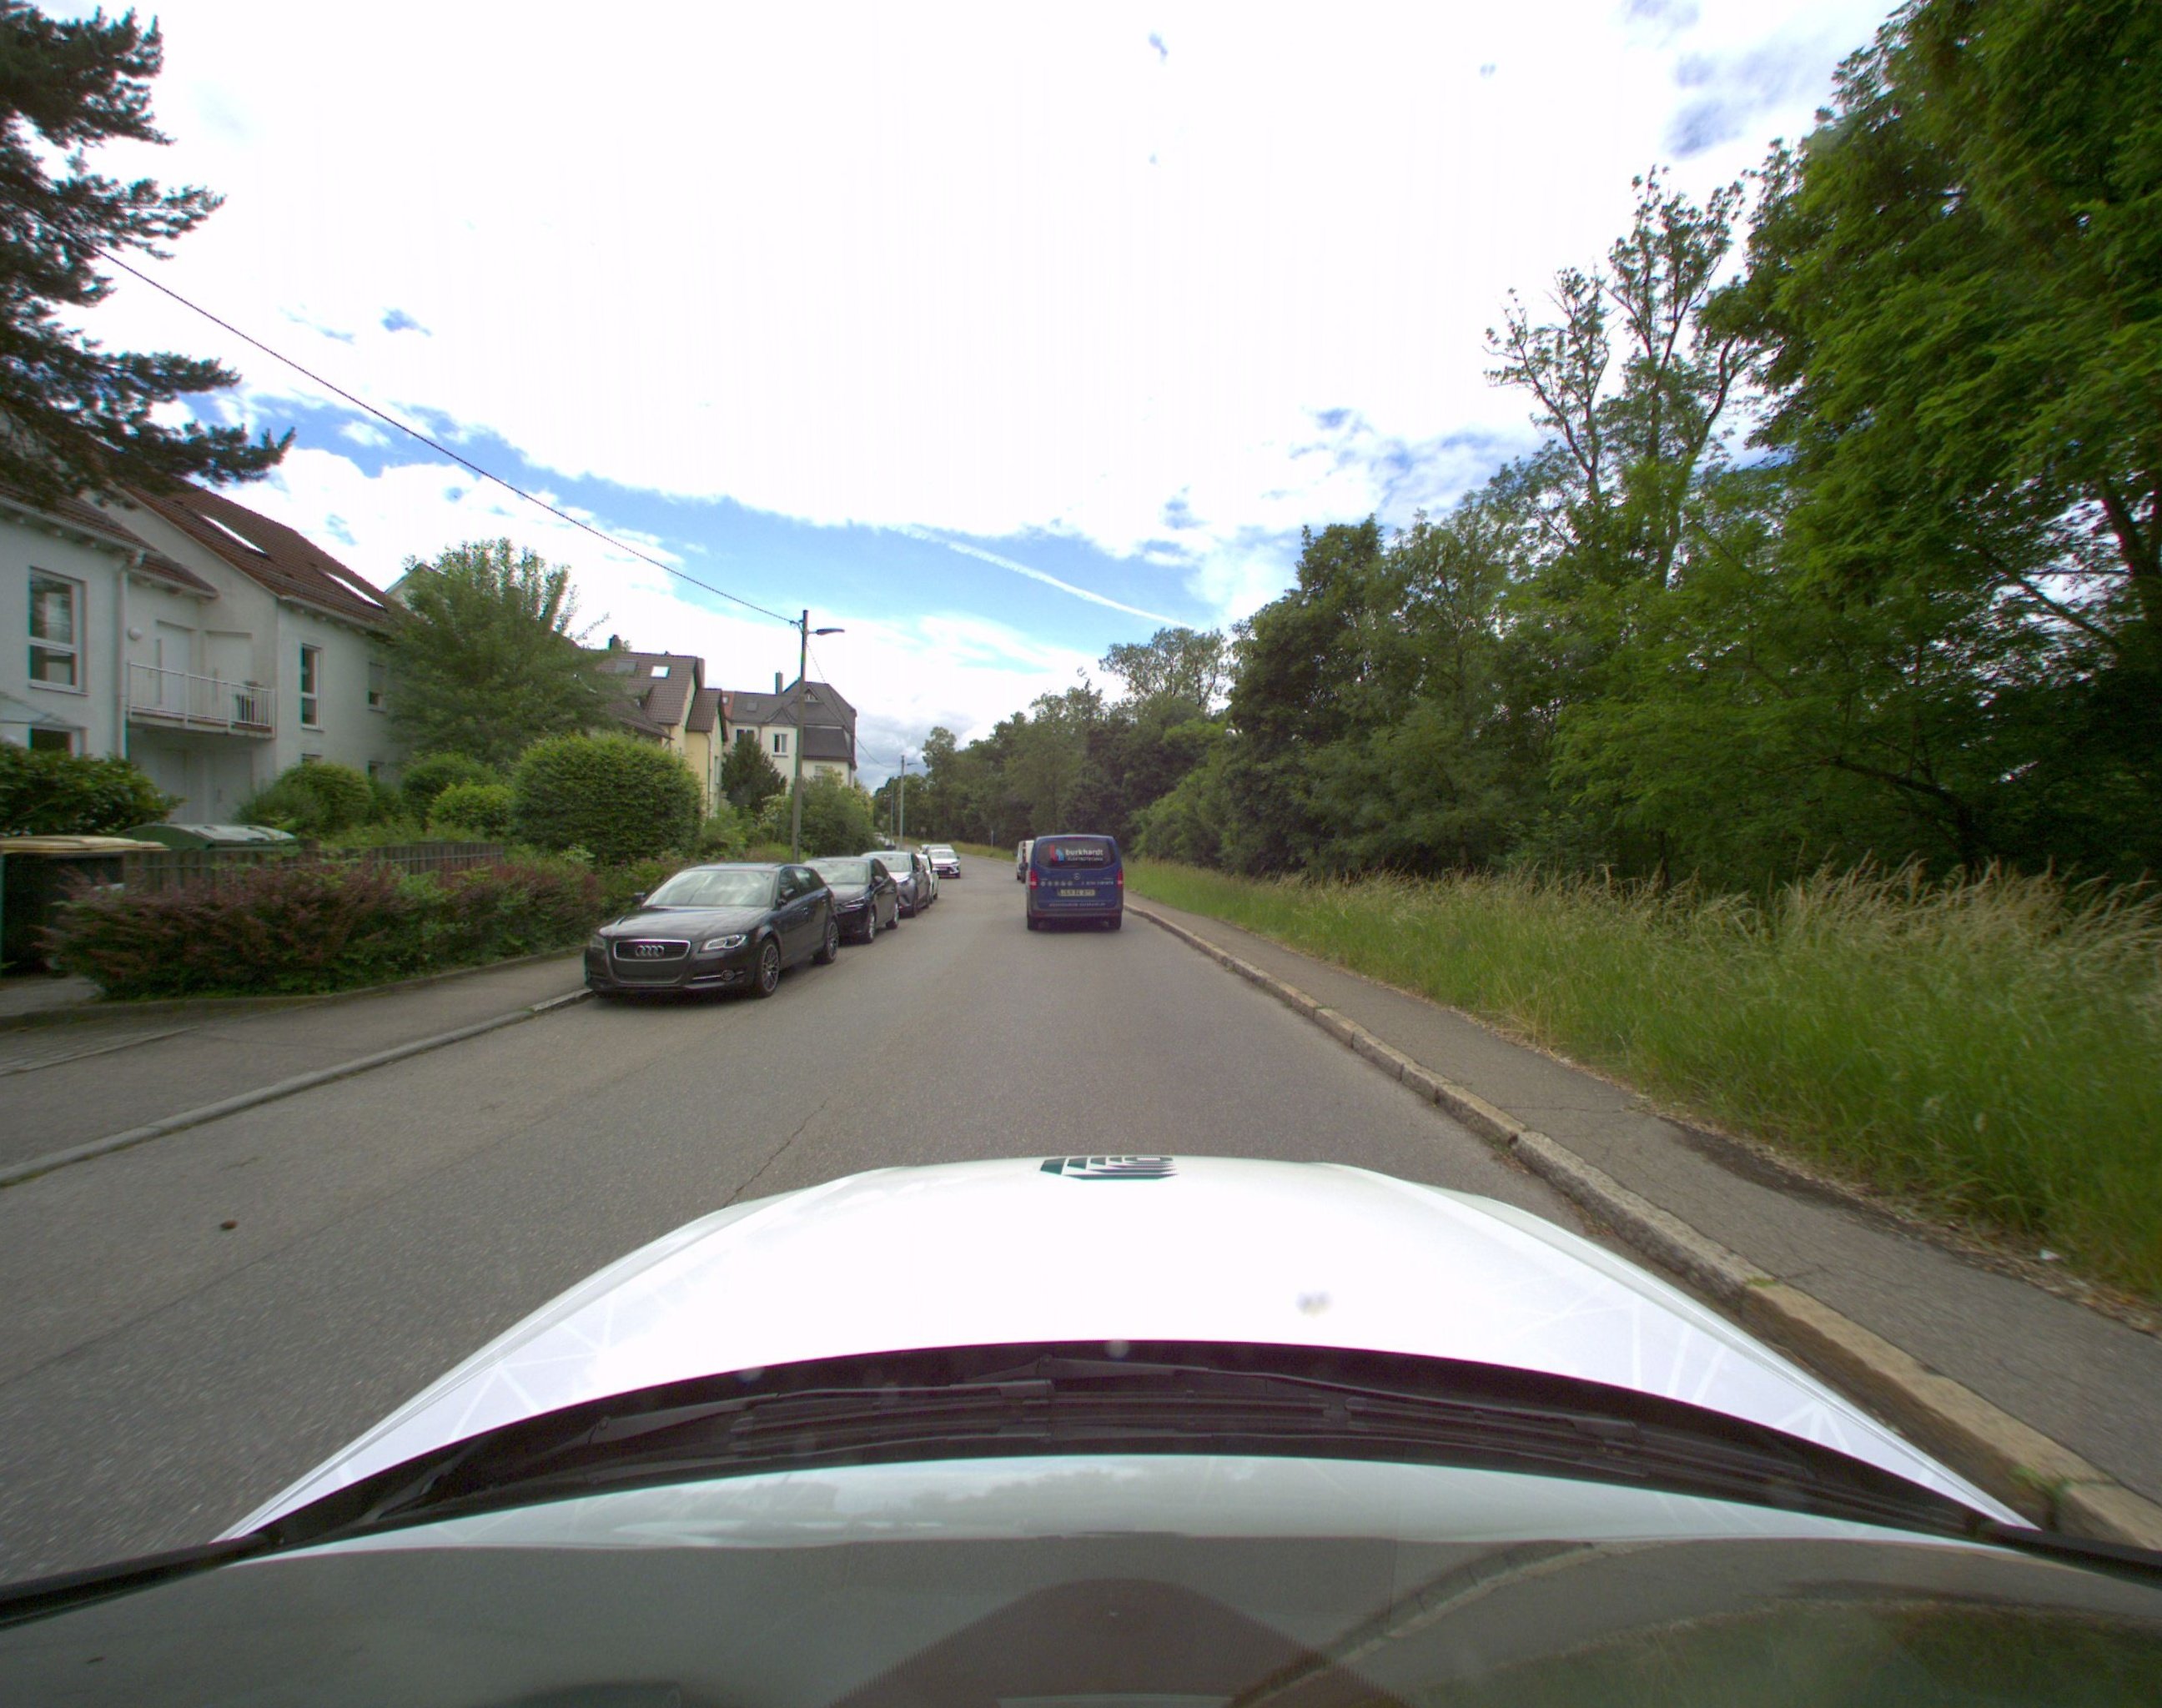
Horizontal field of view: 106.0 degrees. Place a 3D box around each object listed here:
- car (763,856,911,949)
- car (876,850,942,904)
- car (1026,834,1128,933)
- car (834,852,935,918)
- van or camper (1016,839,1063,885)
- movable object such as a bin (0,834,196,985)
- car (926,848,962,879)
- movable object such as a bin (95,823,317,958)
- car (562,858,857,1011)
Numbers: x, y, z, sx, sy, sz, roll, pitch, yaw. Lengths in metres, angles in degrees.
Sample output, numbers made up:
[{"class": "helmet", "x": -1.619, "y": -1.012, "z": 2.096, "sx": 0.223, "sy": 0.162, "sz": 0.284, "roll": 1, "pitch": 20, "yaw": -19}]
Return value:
[{"class": "car", "x": -4.293, "y": 0.770, "z": 15.012, "sx": 1.646, "sy": 1.441, "sz": 4.327, "roll": 1, "pitch": 0, "yaw": -3}, {"class": "car", "x": -5.216, "y": 0.648, "z": 25.113, "sx": 1.621, "sy": 1.480, "sz": 3.919, "roll": 2, "pitch": 0, "yaw": -7}, {"class": "car", "x": -0.216, "y": 0.504, "z": 17.316, "sx": 1.910, "sy": 1.837, "sz": 4.288, "roll": 0, "pitch": 1, "yaw": -4}, {"class": "car", "x": -4.790, "y": 0.693, "z": 20.414, "sx": 1.758, "sy": 1.480, "sz": 4.122, "roll": 1, "pitch": 0, "yaw": -4}, {"class": "van or camper", "x": -2.005, "y": 0.327, "z": 38.376, "sx": 2.016, "sy": 1.956, "sz": 4.888, "roll": 1, "pitch": 1, "yaw": -5}, {"class": "movable object such as a bin", "x": -10.218, "y": 0.506, "z": 8.193, "sx": 1.112, "sy": 1.363, "sz": 1.391, "roll": 1, "pitch": 2, "yaw": -5}, {"class": "car", "x": -7.196, "y": 0.466, "z": 42.946, "sx": 1.724, "sy": 1.492, "sz": 4.399, "roll": 2, "pitch": 0, "yaw": -9}, {"class": "movable object such as a bin", "x": -10.320, "y": 0.384, "z": 9.707, "sx": 1.091, "sy": 1.466, "sz": 1.451, "roll": 1, "pitch": 2, "yaw": -5}, {"class": "car", "x": -4.172, "y": 0.780, "z": 10.063, "sx": 1.730, "sy": 1.418, "sz": 4.500, "roll": 0, "pitch": 0, "yaw": -2}]
